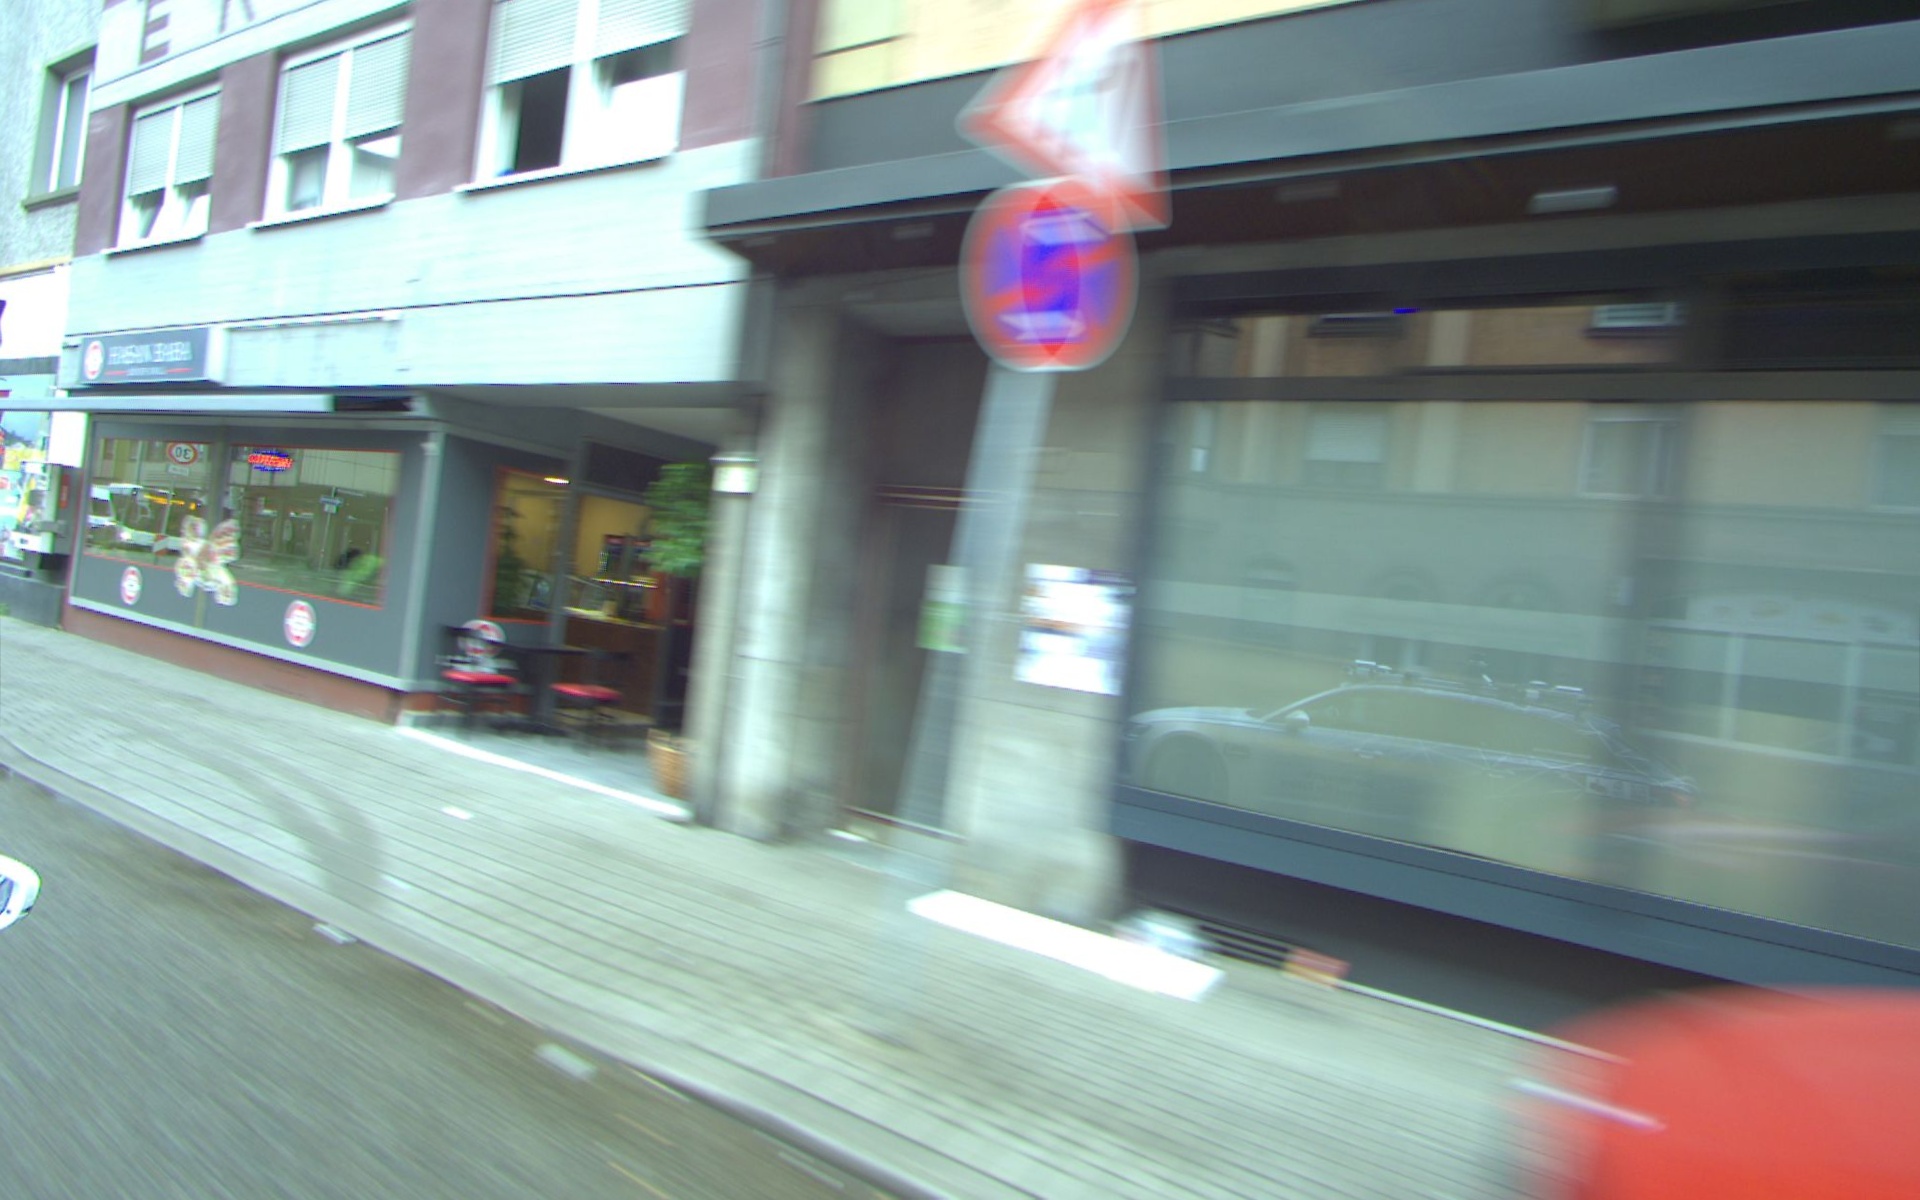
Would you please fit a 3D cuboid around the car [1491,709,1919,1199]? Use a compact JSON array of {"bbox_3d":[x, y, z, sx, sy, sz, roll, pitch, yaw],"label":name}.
[{"bbox_3d":[2.904,1.133,0.881,4.241,1.386,1.747,7,0,30],"label":"car"}]
